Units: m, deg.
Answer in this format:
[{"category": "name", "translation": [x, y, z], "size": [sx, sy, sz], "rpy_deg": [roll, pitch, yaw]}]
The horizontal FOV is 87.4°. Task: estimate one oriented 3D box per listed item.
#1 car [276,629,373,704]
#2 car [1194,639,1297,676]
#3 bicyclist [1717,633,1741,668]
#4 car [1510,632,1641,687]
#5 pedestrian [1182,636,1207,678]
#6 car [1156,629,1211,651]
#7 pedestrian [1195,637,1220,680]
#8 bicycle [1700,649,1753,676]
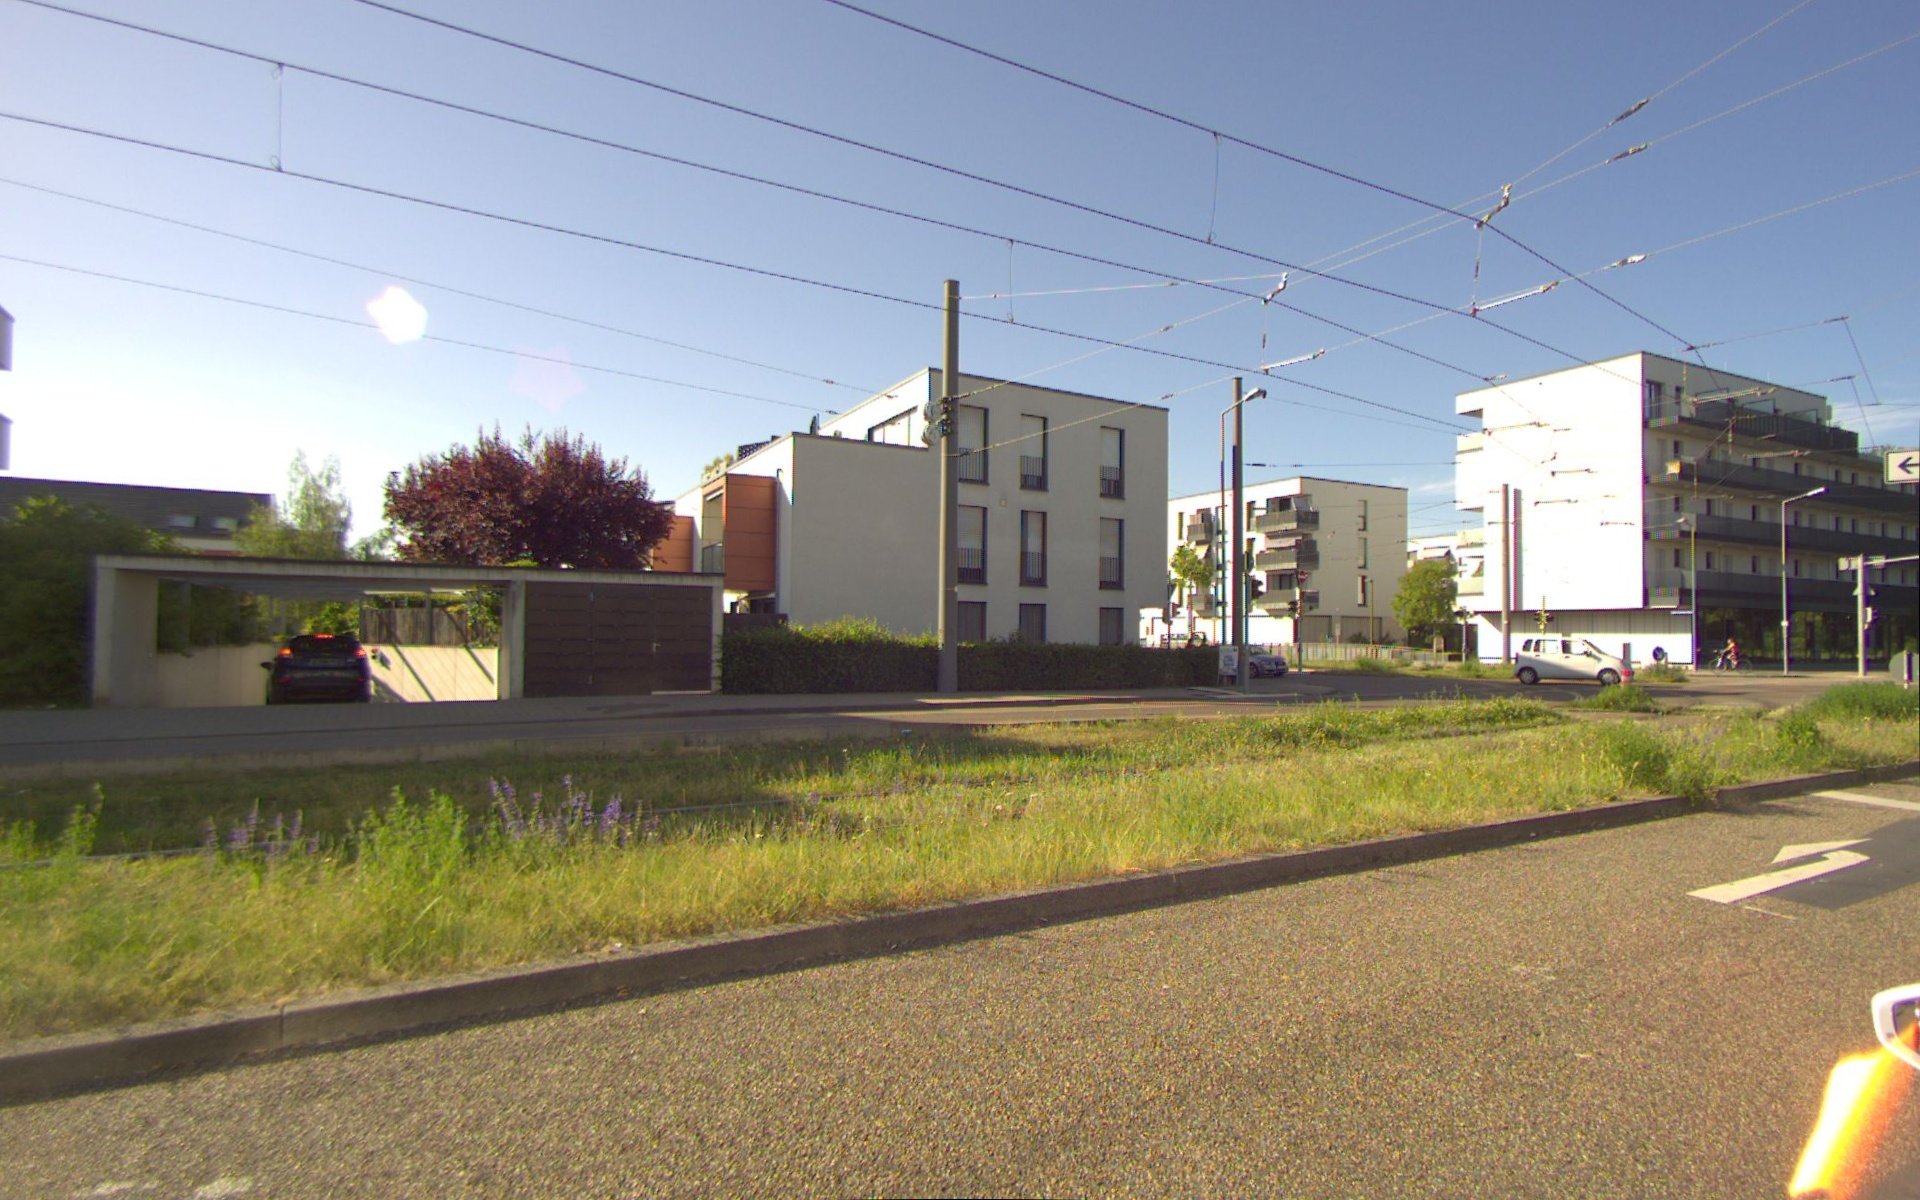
[{"category": "car", "translation": [-13.352, 1.451, 21.086], "size": [1.560, 1.344, 3.966], "rpy_deg": [2, -7, -33]}, {"category": "car", "translation": [12.301, 2.448, 43.450], "size": [1.851, 1.505, 4.070], "rpy_deg": [2, -2, -35]}, {"category": "bicyclist", "translation": [37.043, 2.409, 48.374], "size": [0.628, 1.635, 0.785], "rpy_deg": [2, 0, 17]}, {"category": "car", "translation": [20.937, 1.973, 34.199], "size": [3.629, 1.743, 1.862], "rpy_deg": [0, -1, 39]}, {"category": "pedestrian", "translation": [9.400, 2.286, 40.306], "size": [0.758, 1.626, 0.743], "rpy_deg": [2, 0, 0]}, {"category": "car", "translation": [17.805, 3.173, 80.259], "size": [1.974, 1.595, 4.309], "rpy_deg": [2, 0, -27]}, {"category": "pedestrian", "translation": [9.788, 2.295, 39.672], "size": [0.758, 1.626, 0.743], "rpy_deg": [2, 0, 0]}, {"category": "bicycle", "translation": [36.911, 3.003, 48.409], "size": [1.823, 1.139, 0.823], "rpy_deg": [2, 0, 16]}]
